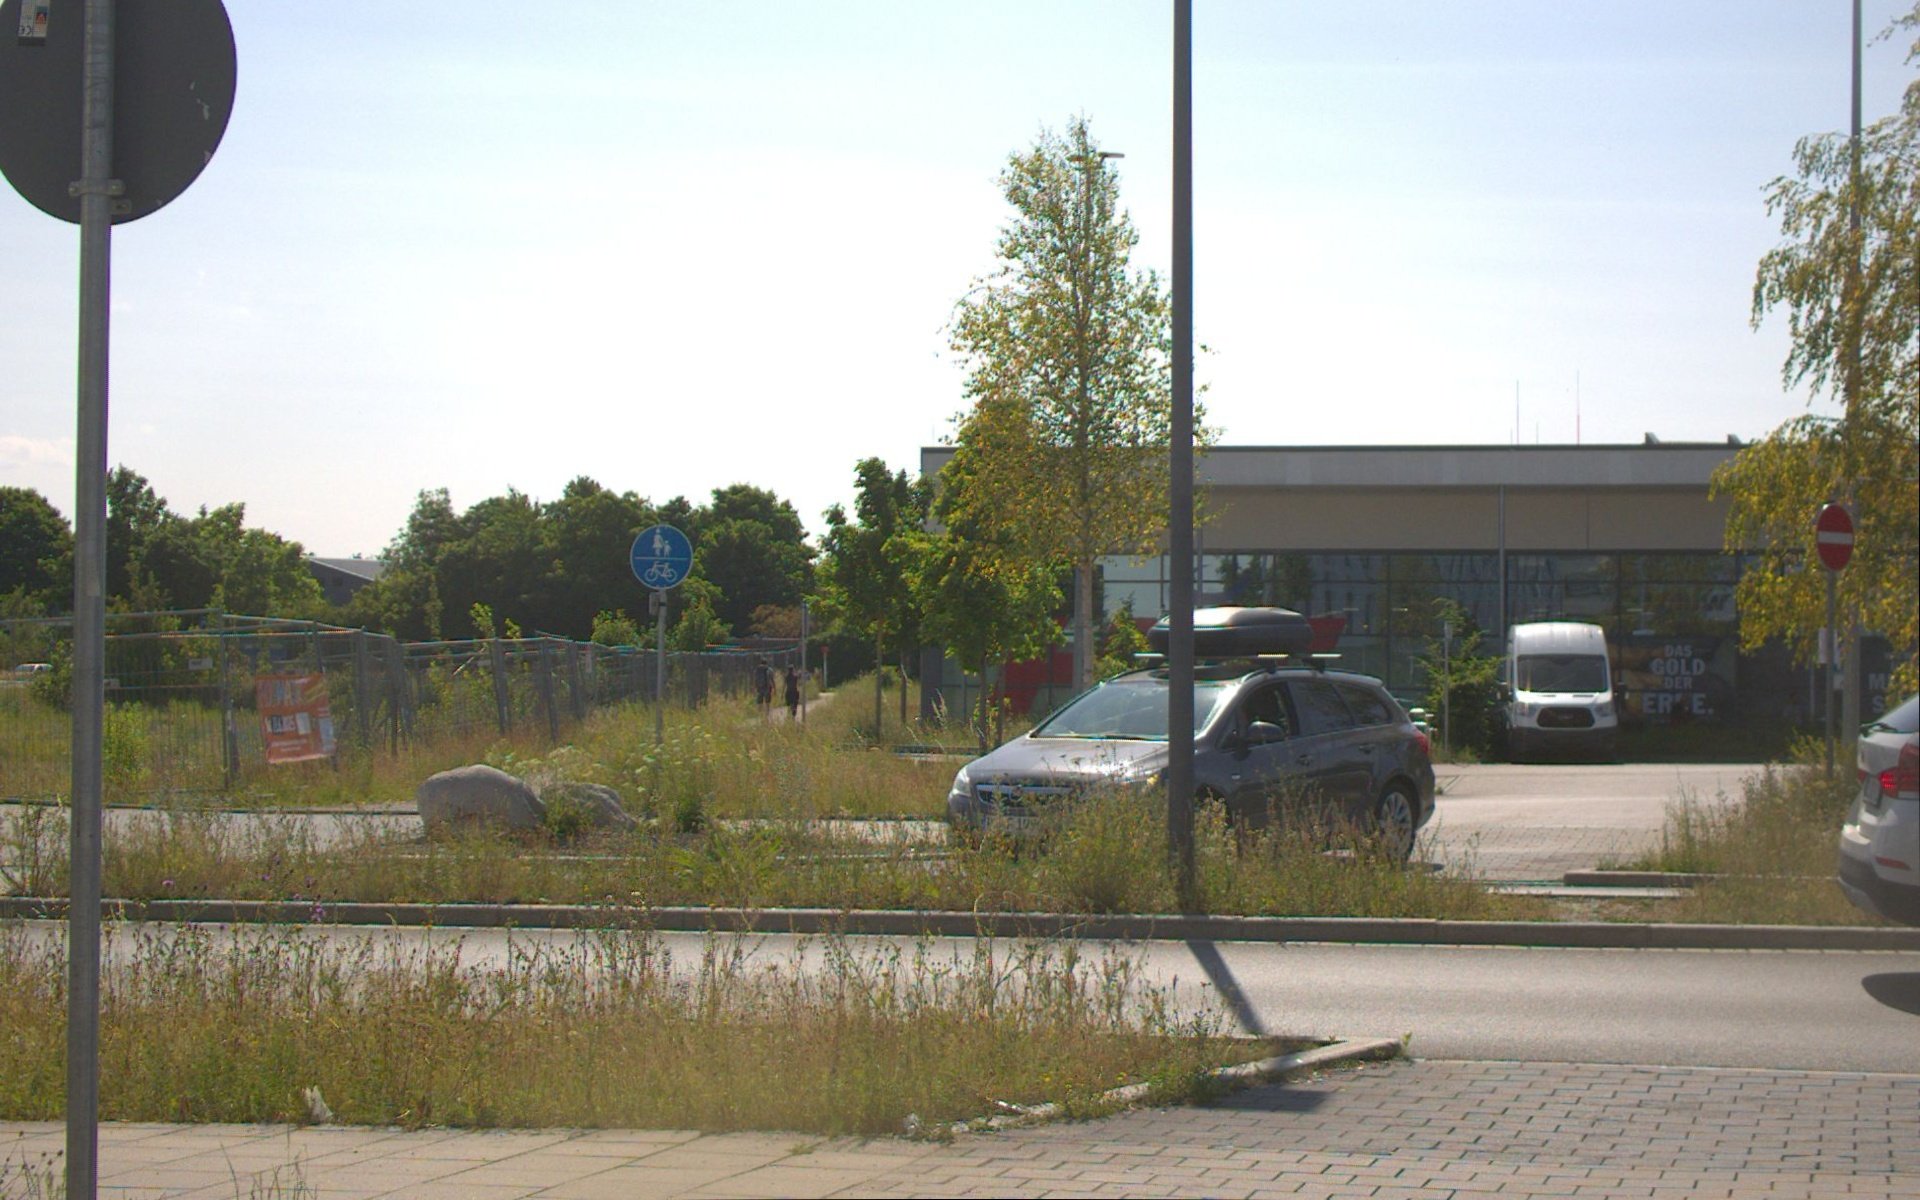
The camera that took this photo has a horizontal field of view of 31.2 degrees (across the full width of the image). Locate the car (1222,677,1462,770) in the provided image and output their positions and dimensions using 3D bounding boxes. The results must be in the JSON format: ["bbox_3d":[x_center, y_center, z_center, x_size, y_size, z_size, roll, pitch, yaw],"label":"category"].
[{"bbox_3d":[6.280,2.016,56.485,3.833,1.418,1.771,1,-2,7],"label":"car"}]

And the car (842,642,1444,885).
[{"bbox_3d":[1.352,1.106,23.885,1.998,1.512,4.186,0,-2,41],"label":"car"}]

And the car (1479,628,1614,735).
[{"bbox_3d":[11.419,1.574,67.315,2.223,1.970,6.694,0,-1,7],"label":"car"}]

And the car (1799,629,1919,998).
[{"bbox_3d":[6.098,0.956,15.035,4.557,1.546,1.741,1,-2,9],"label":"car"}]
